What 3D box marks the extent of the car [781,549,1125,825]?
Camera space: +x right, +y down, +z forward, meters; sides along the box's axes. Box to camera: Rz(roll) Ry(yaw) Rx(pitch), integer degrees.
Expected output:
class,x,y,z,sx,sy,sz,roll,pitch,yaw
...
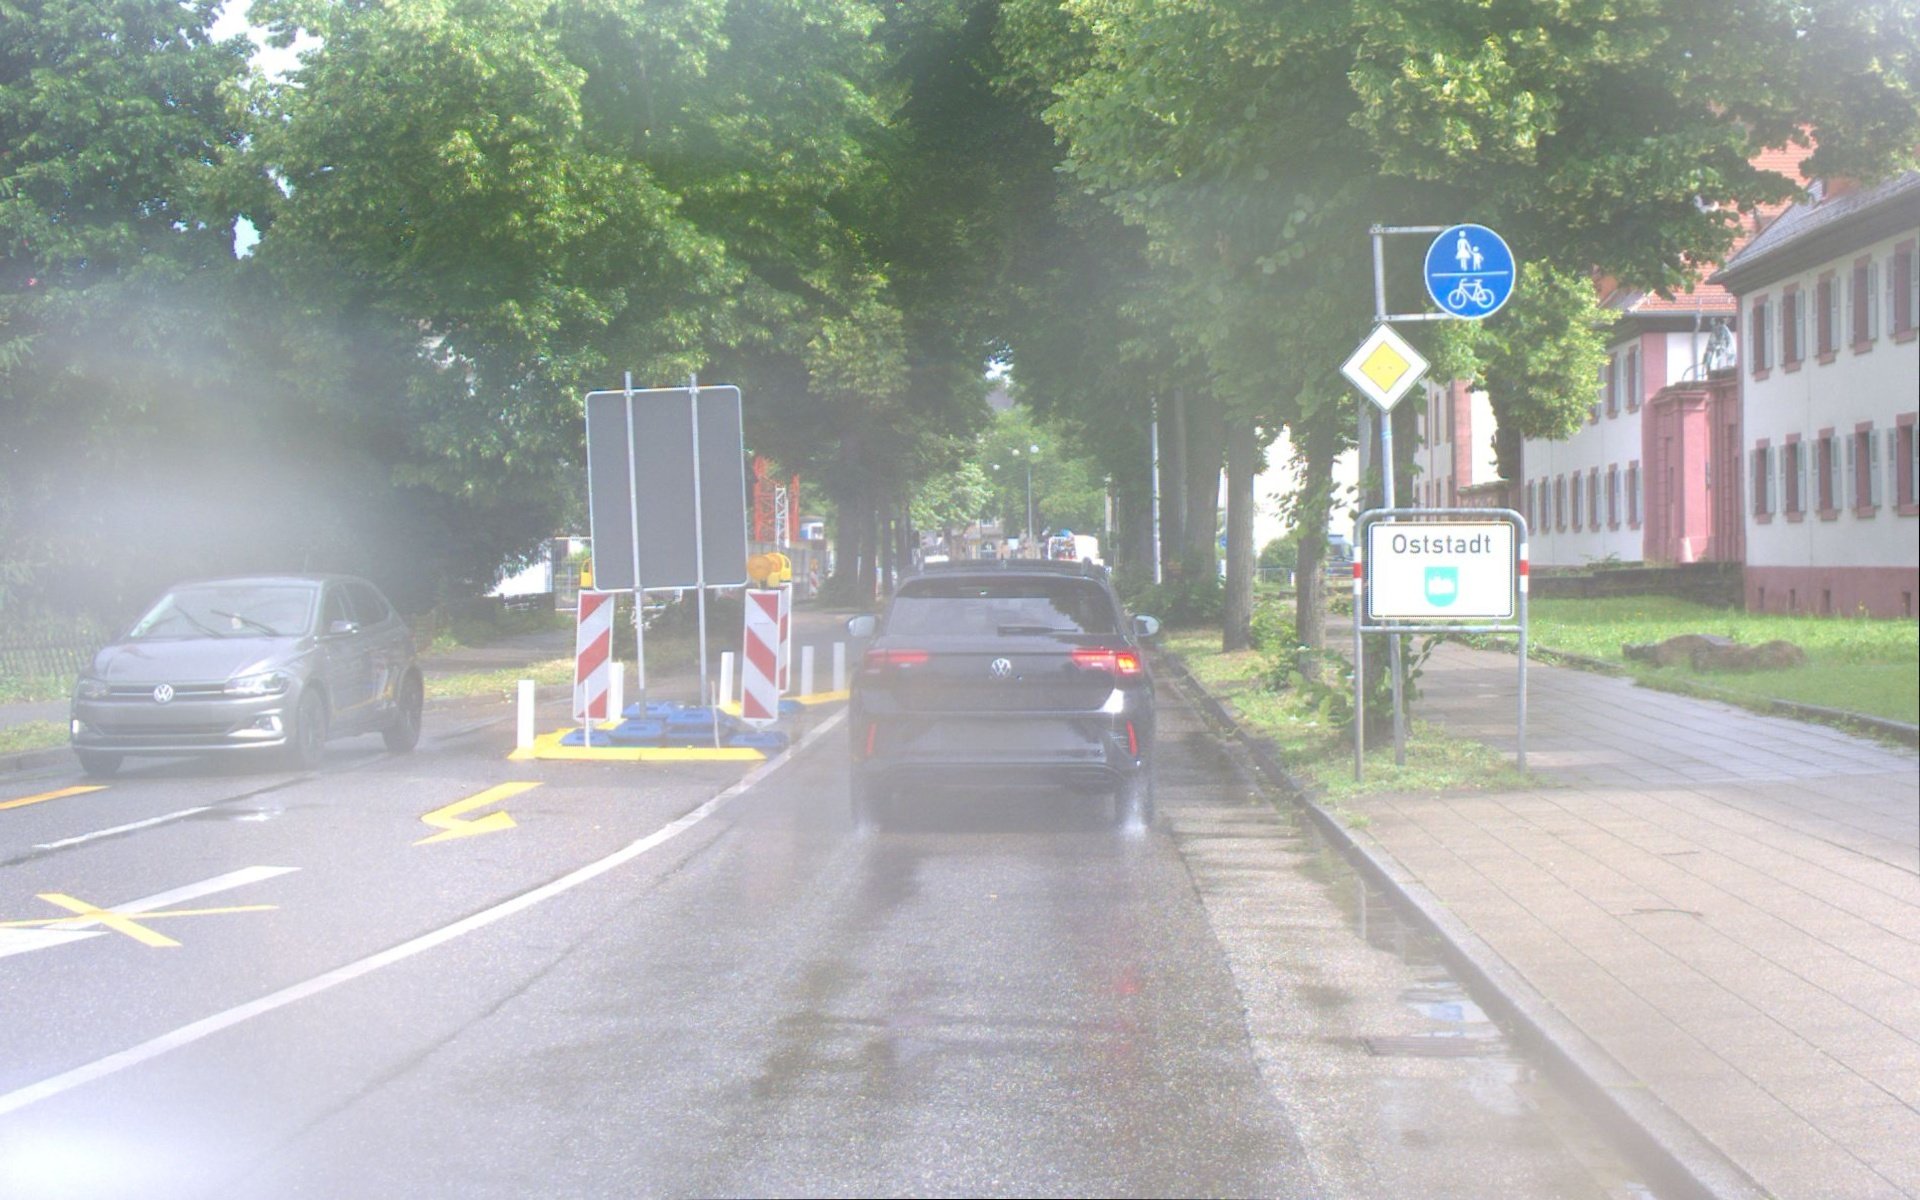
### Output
class,x,y,z,sx,sy,sz,roll,pitch,yaw
car,0.038,0.458,20.998,1.895,1.517,4.000,0,1,2

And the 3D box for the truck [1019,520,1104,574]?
class,x,y,z,sx,sy,sz,roll,pitch,yaw
truck,5.080,-2.699,173.764,2.804,2.647,8.243,-1,1,-9

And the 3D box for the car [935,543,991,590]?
class,x,y,z,sx,sy,sz,roll,pitch,yaw
car,0.128,-1.272,129.646,1.886,1.708,4.229,-1,1,2

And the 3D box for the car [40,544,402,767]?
class,x,y,z,sx,sy,sz,roll,pitch,yaw
car,-5.448,0.360,25.785,1.680,1.503,3.793,-1,1,3
